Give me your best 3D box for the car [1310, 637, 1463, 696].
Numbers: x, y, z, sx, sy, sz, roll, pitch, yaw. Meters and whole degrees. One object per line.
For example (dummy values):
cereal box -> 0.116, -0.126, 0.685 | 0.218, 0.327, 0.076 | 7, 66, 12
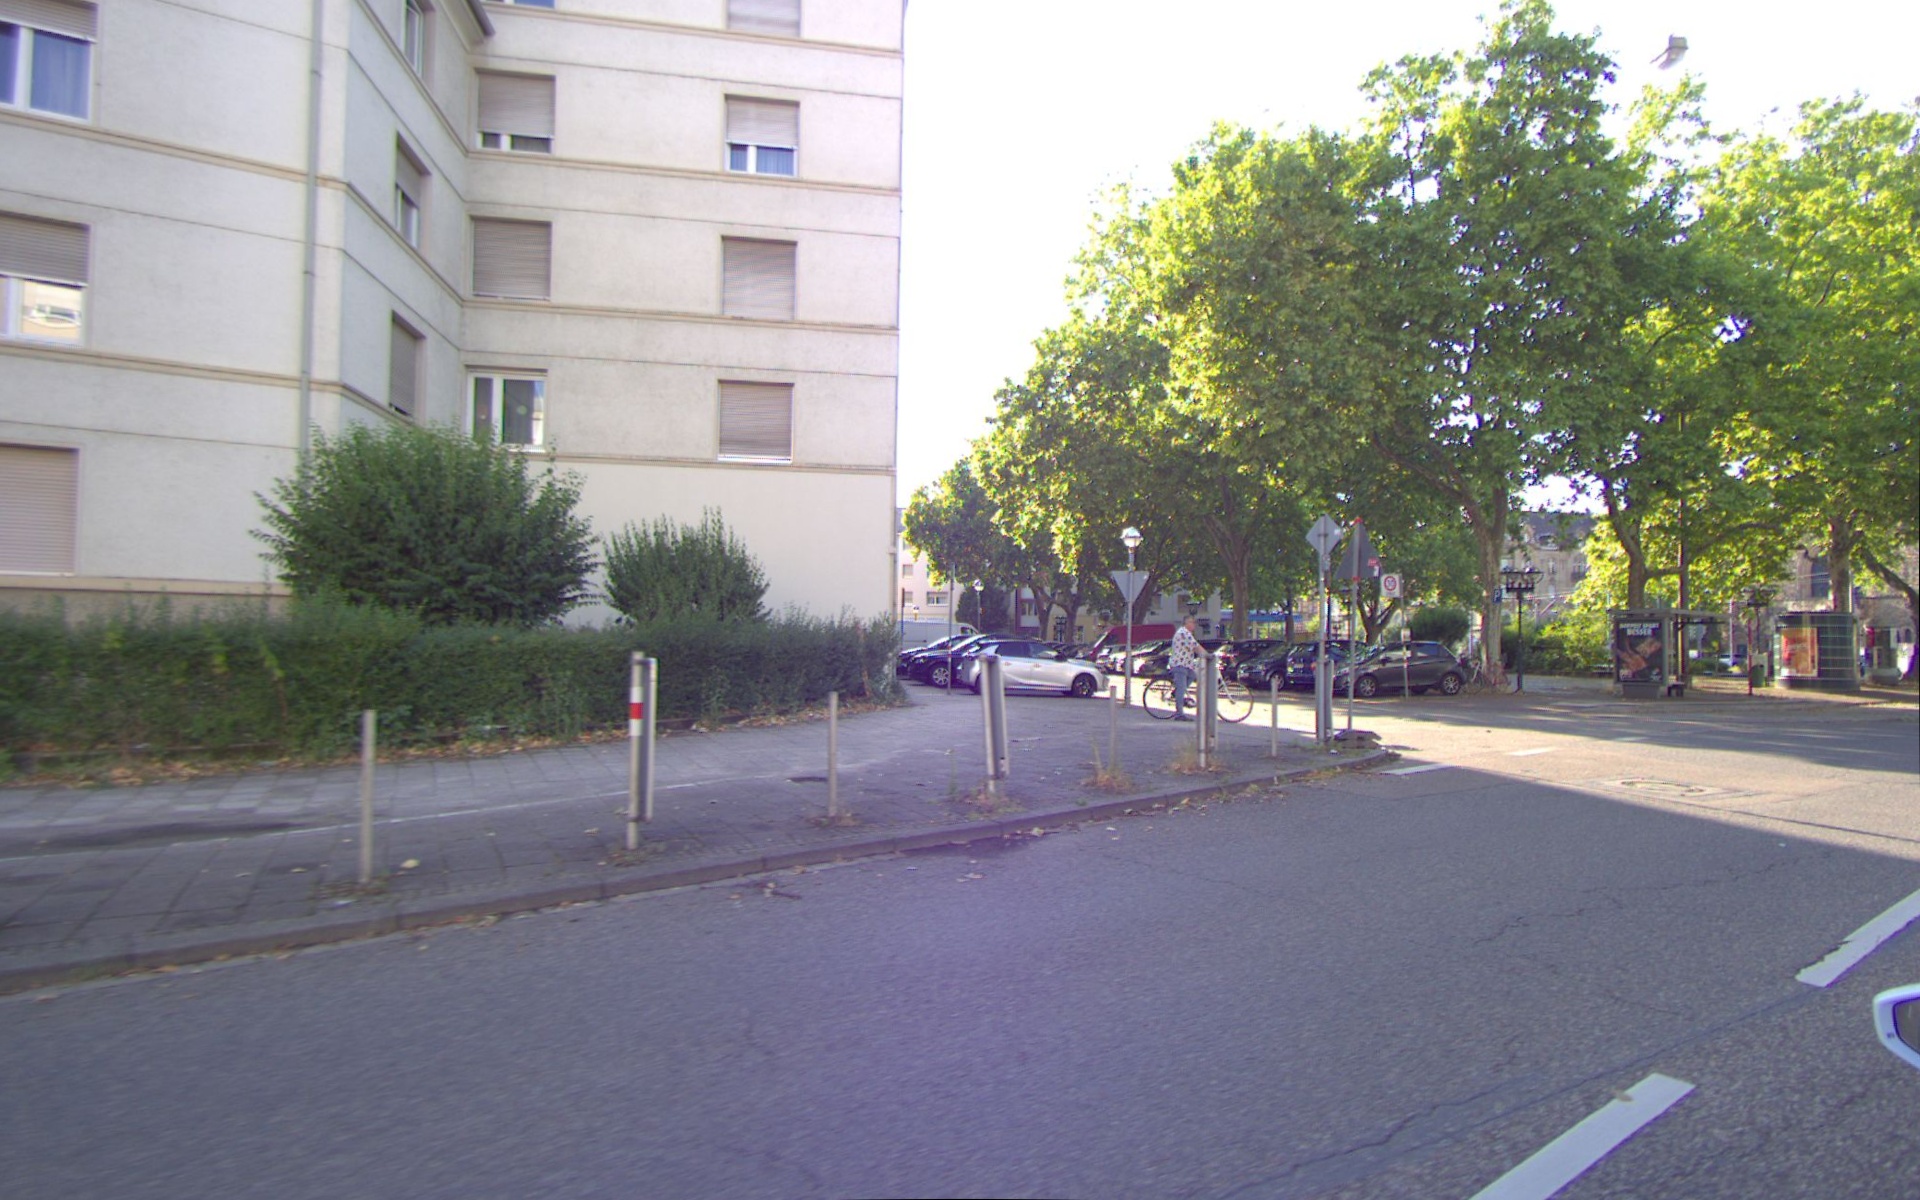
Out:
car -> 11.878, 1.838, 28.048 | 3.585, 1.537, 1.752 | 2, -3, -11

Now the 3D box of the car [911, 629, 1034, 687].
car -> 0.435, 2.052, 35.231 | 3.968, 1.749, 1.651 | 4, -4, -14

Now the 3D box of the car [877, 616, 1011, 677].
car -> -0.655, 1.912, 40.636 | 5.082, 2.149, 1.651 | 4, -4, -14

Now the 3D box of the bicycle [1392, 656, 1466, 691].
bicycle -> 15.923, 2.489, 34.100 | 2.172, 1.005, 0.552 | 3, -1, 9

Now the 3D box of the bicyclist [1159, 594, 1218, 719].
bicyclist -> 3.905, 0.959, 17.214 | 0.781, 2.040, 0.978 | 3, -1, 6

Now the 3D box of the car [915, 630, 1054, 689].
car -> 0.700, 1.814, 30.494 | 3.962, 1.531, 1.654 | 3, -4, -8

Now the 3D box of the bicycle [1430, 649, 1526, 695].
bicycle -> 14.393, 2.007, 27.862 | 3.254, 1.160, 0.715 | 4, -2, -30

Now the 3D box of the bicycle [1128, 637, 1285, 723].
bicycle -> 4.167, 1.344, 17.171 | 2.433, 1.281, 1.012 | 3, -1, 5

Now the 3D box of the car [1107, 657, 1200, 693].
car -> 8.194, 3.176, 42.493 | 3.653, 1.353, 1.643 | 4, -2, -29

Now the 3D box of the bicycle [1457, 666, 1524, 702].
bicycle -> 16.554, 2.615, 31.344 | 2.185, 1.005, 0.548 | 4, -1, -22

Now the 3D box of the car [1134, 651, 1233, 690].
car -> 8.906, 2.800, 39.968 | 3.653, 1.353, 1.643 | 4, -2, -29

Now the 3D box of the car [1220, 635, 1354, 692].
car -> 10.759, 2.087, 33.058 | 3.948, 1.639, 1.868 | 4, -2, -26

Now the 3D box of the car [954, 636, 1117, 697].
car -> 1.944, 1.749, 26.407 | 3.962, 1.353, 1.654 | 3, -4, -8

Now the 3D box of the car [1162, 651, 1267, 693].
car -> 9.552, 2.701, 37.707 | 3.653, 1.353, 1.643 | 4, -2, -29

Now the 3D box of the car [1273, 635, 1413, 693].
car -> 11.843, 1.934, 31.090 | 3.947, 1.639, 1.868 | 0, -2, -26

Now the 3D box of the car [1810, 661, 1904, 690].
car -> 53.066, 4.427, 59.491 | 1.624, 1.415, 3.931 | 3, -2, -12

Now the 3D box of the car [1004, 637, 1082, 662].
car -> 5.359, 3.200, 64.754 | 4.707, 1.377, 1.652 | 4, -4, -12

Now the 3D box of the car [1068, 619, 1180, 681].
car -> 8.616, 2.670, 52.858 | 5.463, 2.947, 1.653 | 3, -4, -9

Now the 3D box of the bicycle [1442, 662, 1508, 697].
bicycle -> 16.355, 2.513, 31.893 | 2.185, 1.005, 0.548 | 4, -1, -22

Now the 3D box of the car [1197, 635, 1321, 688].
car -> 10.590, 2.169, 35.548 | 3.948, 1.639, 1.868 | 4, -2, -26
